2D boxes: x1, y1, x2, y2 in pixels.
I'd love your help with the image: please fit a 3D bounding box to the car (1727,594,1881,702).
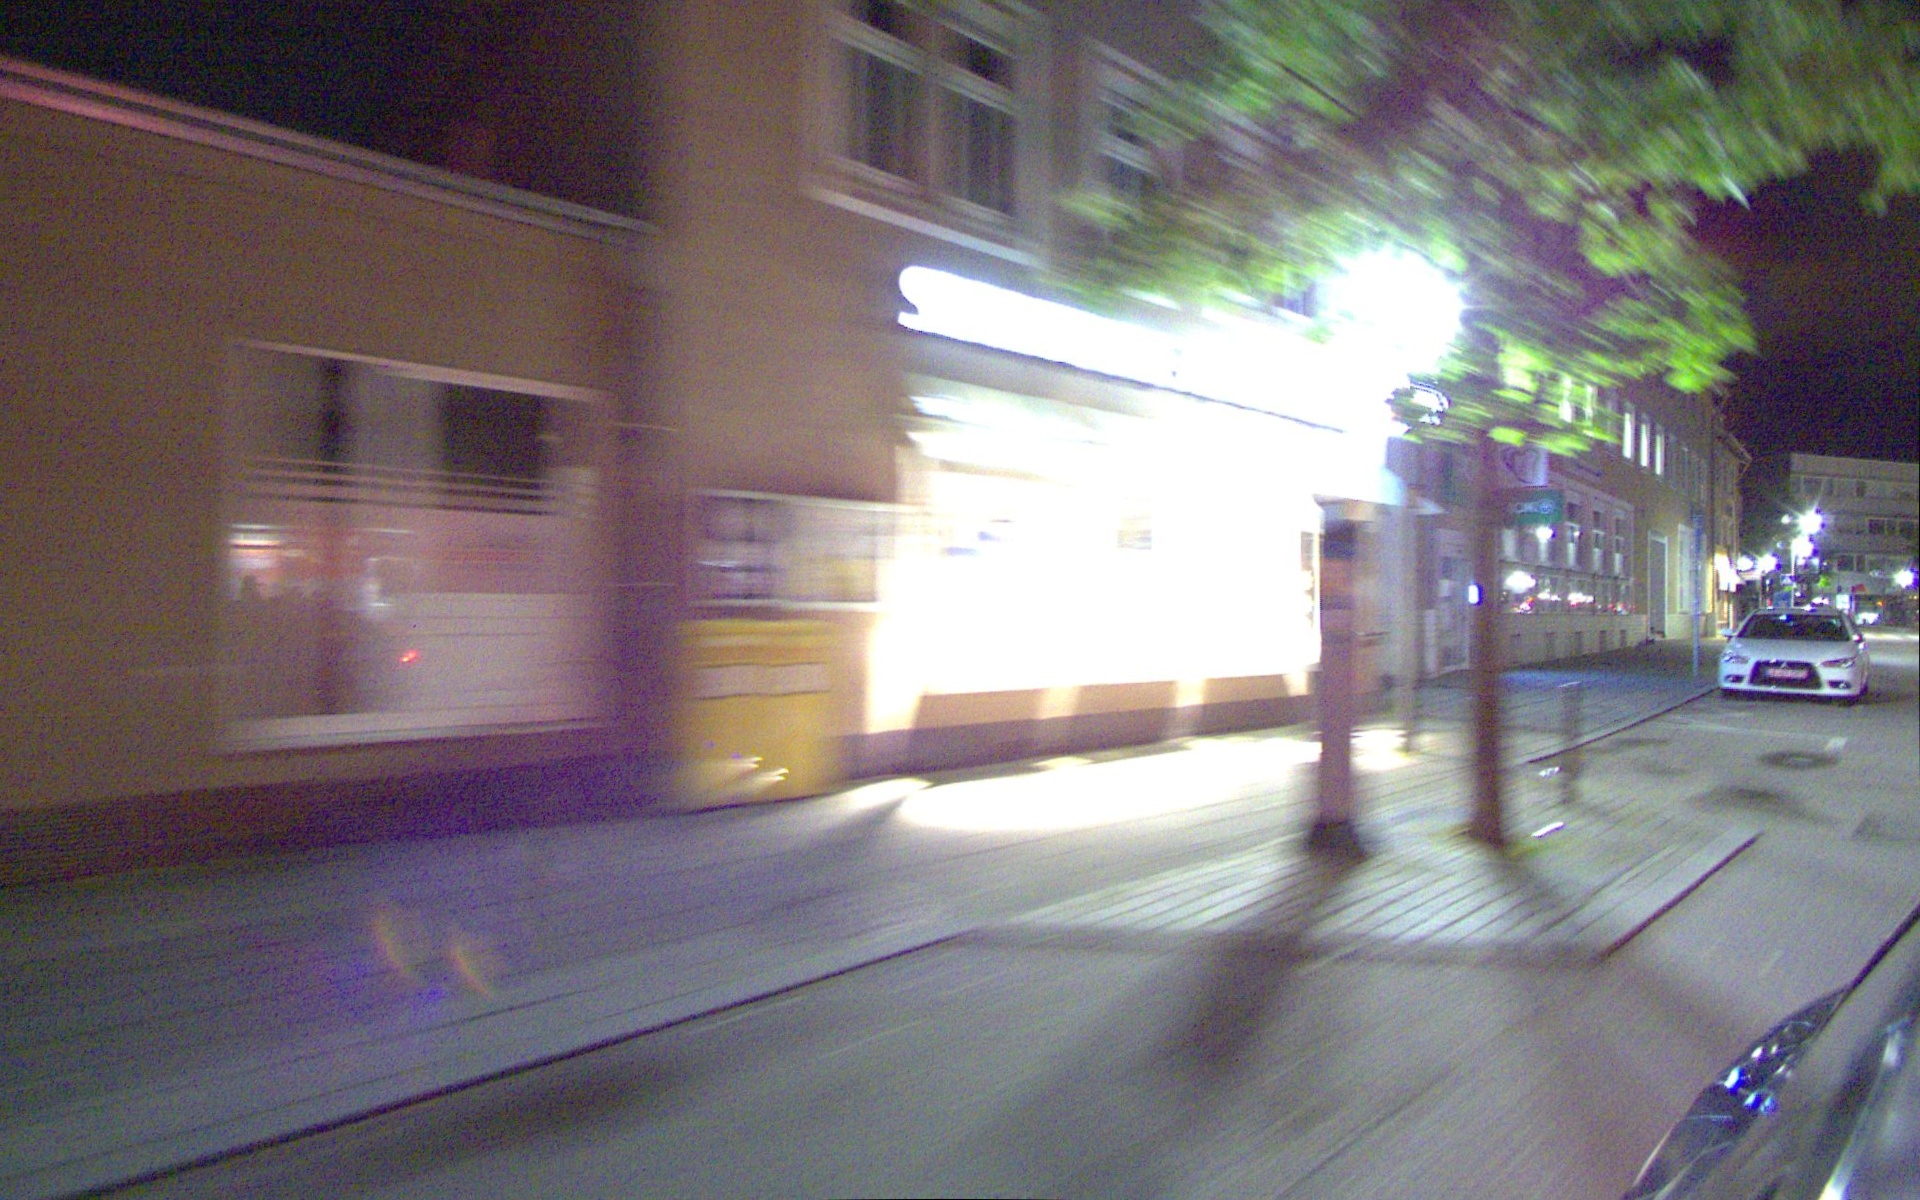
[{"bbox_3d":[14.214,0.686,16.949,1.742,1.506,4.564,0,1,43],"label":"car"}]
